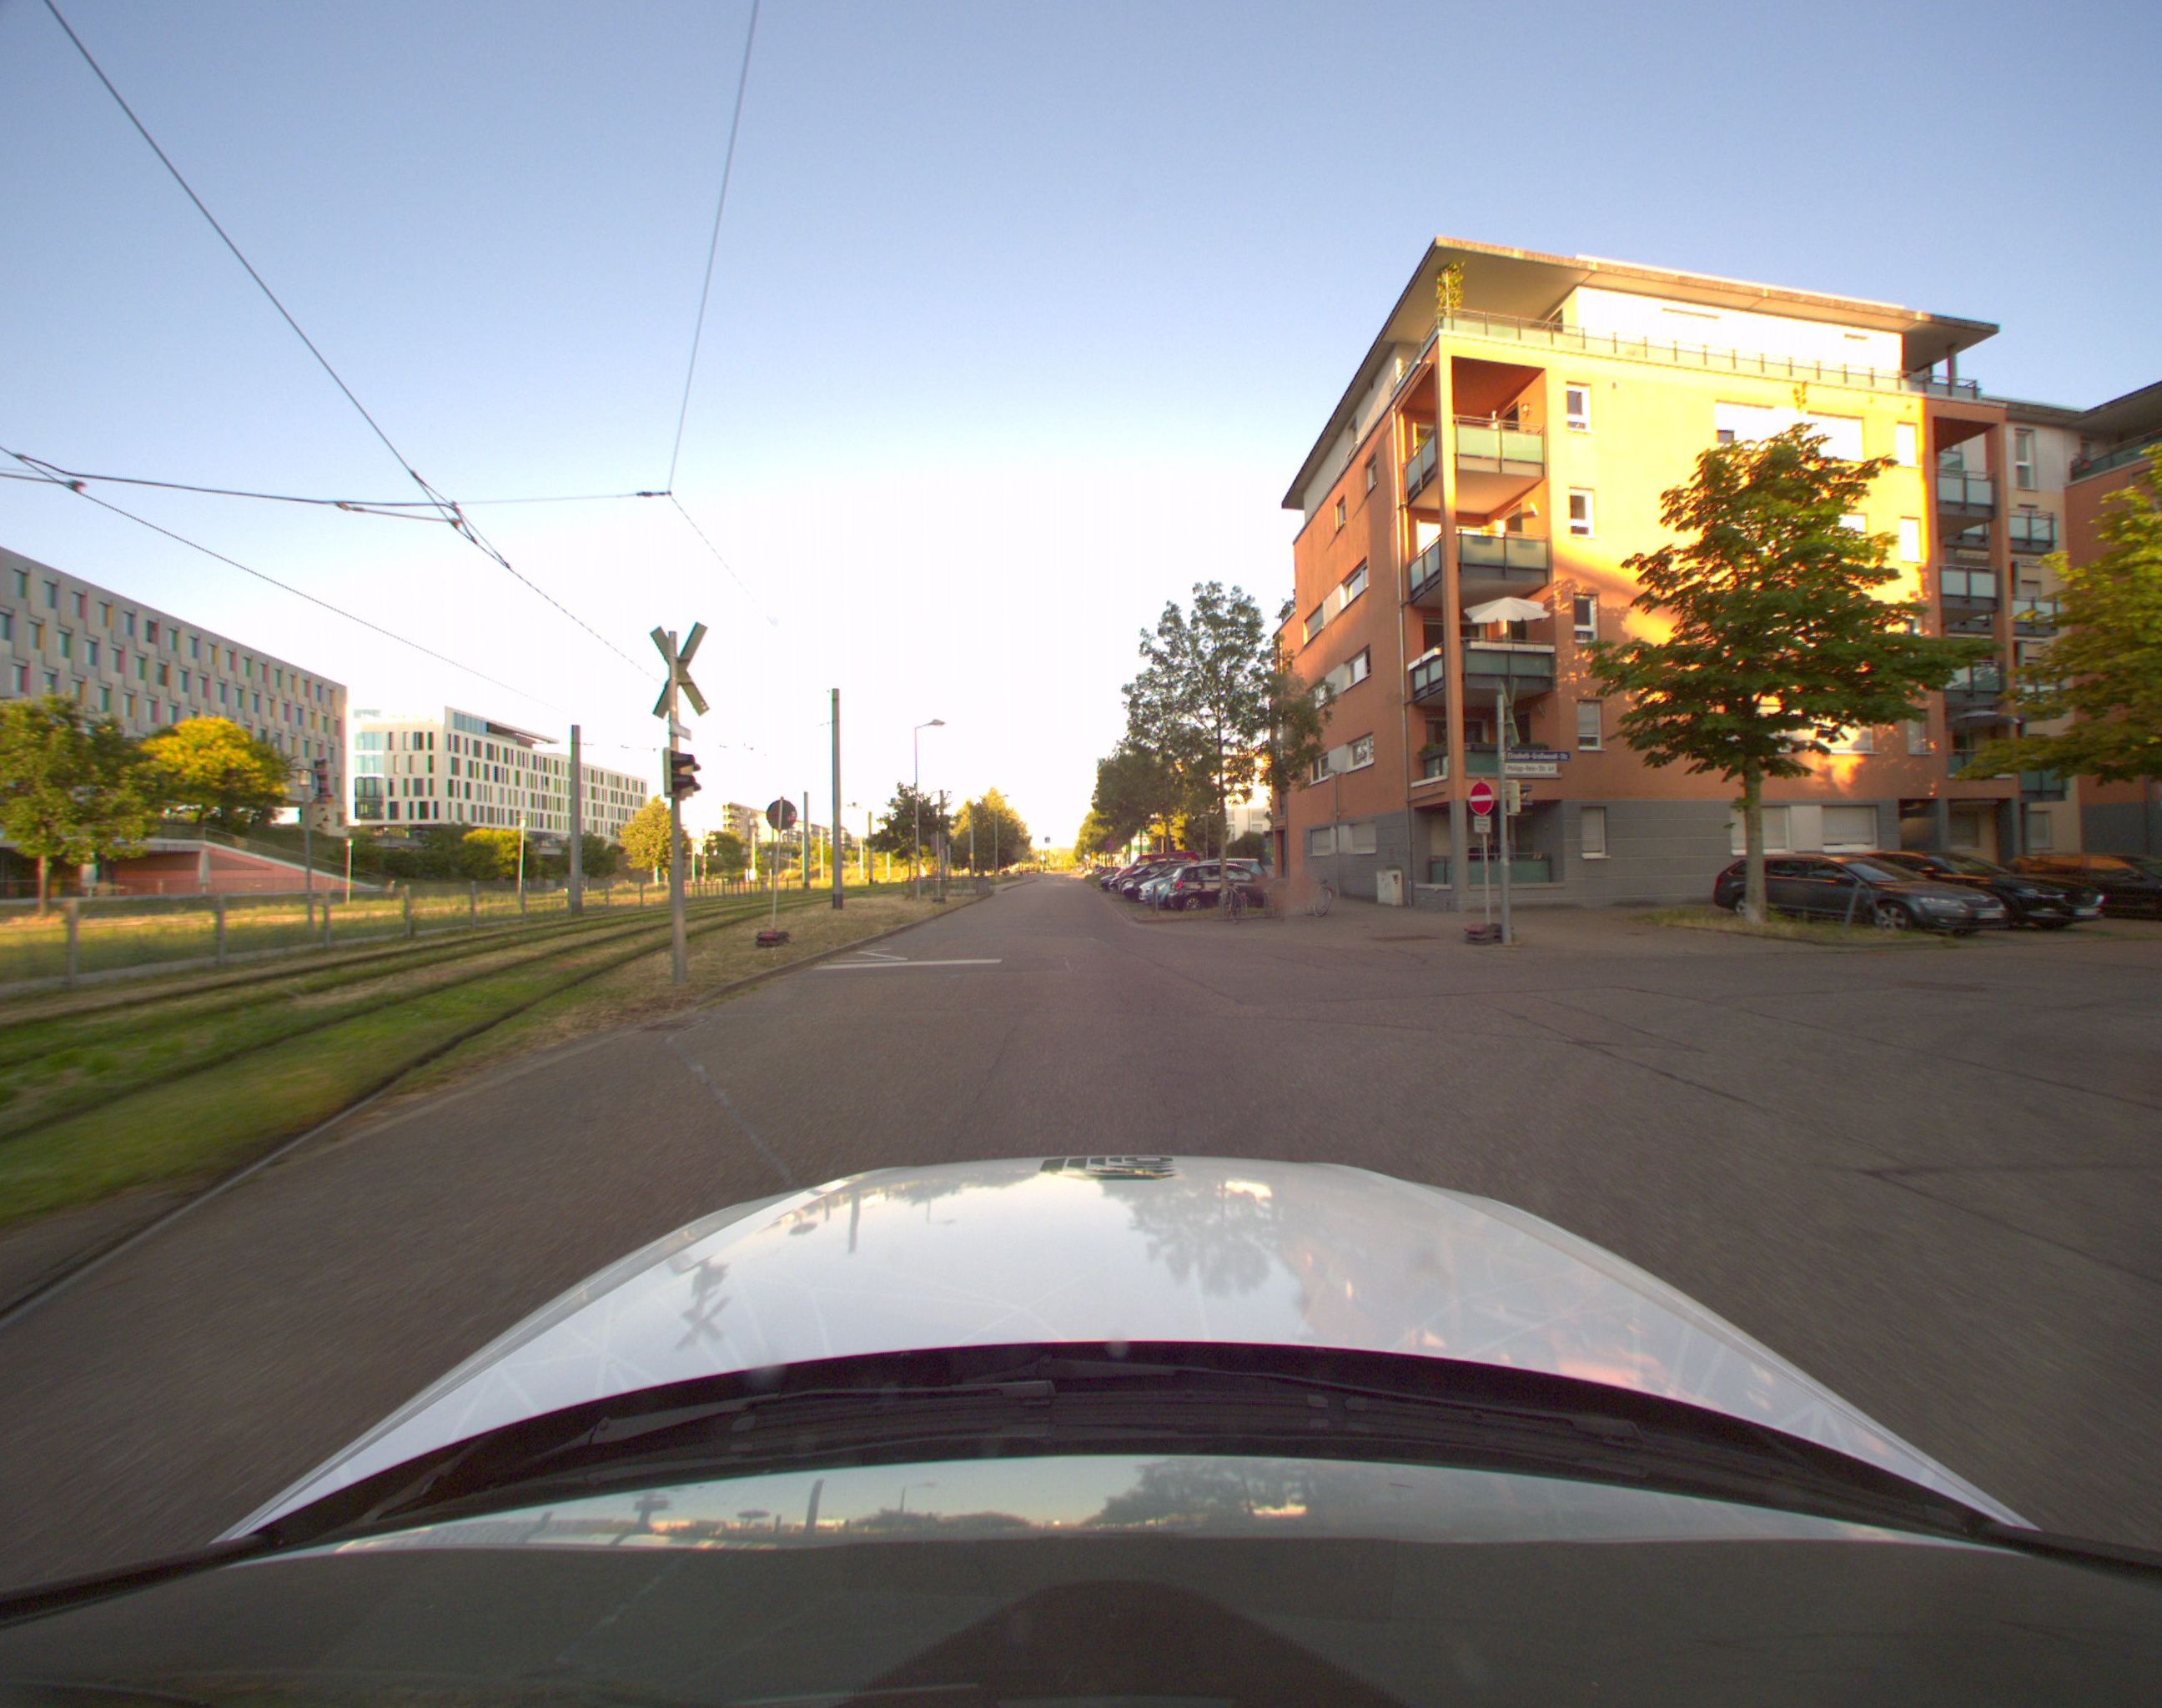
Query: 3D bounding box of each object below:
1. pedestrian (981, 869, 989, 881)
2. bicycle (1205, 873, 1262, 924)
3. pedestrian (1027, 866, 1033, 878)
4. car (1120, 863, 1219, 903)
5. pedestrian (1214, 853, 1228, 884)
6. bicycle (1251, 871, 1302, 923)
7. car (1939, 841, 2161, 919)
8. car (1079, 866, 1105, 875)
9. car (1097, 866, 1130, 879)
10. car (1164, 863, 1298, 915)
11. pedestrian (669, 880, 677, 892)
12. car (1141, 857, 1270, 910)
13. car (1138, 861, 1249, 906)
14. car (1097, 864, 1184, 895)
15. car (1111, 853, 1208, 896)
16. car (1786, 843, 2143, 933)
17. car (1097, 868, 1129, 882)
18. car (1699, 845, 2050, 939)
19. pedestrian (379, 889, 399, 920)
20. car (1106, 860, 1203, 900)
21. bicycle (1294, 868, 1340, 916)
[{"bbox_3d":[-13.595,2.982,115.296,1.022,1.693,0.754,0,-1,-21],"label":"pedestrian"},{"bbox_3d":[3.856,1.100,20.698,0.717,1.152,1.891,-3,1,-12],"label":"bicycle"},{"bbox_3d":[-8.513,3.007,134.976,0.842,2.014,0.945,-2,-1,4],"label":"pedestrian"},{"bbox_3d":[3.527,1.172,32.905,3.763,1.496,1.538,-1,-3,-2],"label":"car"},{"bbox_3d":[7.970,0.838,46.388,0.667,1.743,0.699,-1,-1,-2],"label":"pedestrian"},{"bbox_3d":[4.920,1.054,20.646,0.677,1.152,1.926,-3,1,-3],"label":"bicycle"},{"bbox_3d":[23.051,0.537,18.363,1.994,1.594,4.798,-2,-1,-10],"label":"car"},{"bbox_3d":[1.995,2.959,146.764,4.470,1.596,2.000,-2,-1,0],"label":"car"},{"bbox_3d":[3.826,2.181,96.390,3.794,1.508,1.677,-2,-1,-3],"label":"car"},{"bbox_3d":[4.561,1.053,25.088,3.744,1.473,1.610,-1,-1,-6],"label":"car"},{"bbox_3d":[-64.006,5.044,127.770,0.784,1.786,0.814,-2,-1,2],"label":"pedestrian"},{"bbox_3d":[4.152,0.977,27.579,4.039,1.569,1.672,-3,-1,-2],"label":"car"},{"bbox_3d":[4.118,1.075,30.292,3.866,1.569,1.619,-1,-1,-1],"label":"car"},{"bbox_3d":[3.255,1.406,45.384,4.657,1.557,1.810,-1,-1,-2],"label":"car"},{"bbox_3d":[4.087,1.069,42.913,4.904,2.117,2.016,-2,-1,0],"label":"car"},{"bbox_3d":[18.207,0.650,17.225,1.994,1.594,4.798,-1,-1,-10],"label":"car"},{"bbox_3d":[3.890,2.532,99.060,3.794,1.508,1.677,-2,-1,-3],"label":"car"},{"bbox_3d":[15.527,0.688,16.417,1.994,1.594,4.798,0,-1,-10],"label":"car"},{"bbox_3d":[-46.739,3.385,55.033,0.614,2.082,0.790,0,-1,-2],"label":"pedestrian"},{"bbox_3d":[3.336,1.194,37.571,4.204,1.569,1.791,-3,-1,-2],"label":"car"},{"bbox_3d":[6.104,0.962,21.160,0.528,1.126,1.961,0,1,-3],"label":"bicycle"}]
